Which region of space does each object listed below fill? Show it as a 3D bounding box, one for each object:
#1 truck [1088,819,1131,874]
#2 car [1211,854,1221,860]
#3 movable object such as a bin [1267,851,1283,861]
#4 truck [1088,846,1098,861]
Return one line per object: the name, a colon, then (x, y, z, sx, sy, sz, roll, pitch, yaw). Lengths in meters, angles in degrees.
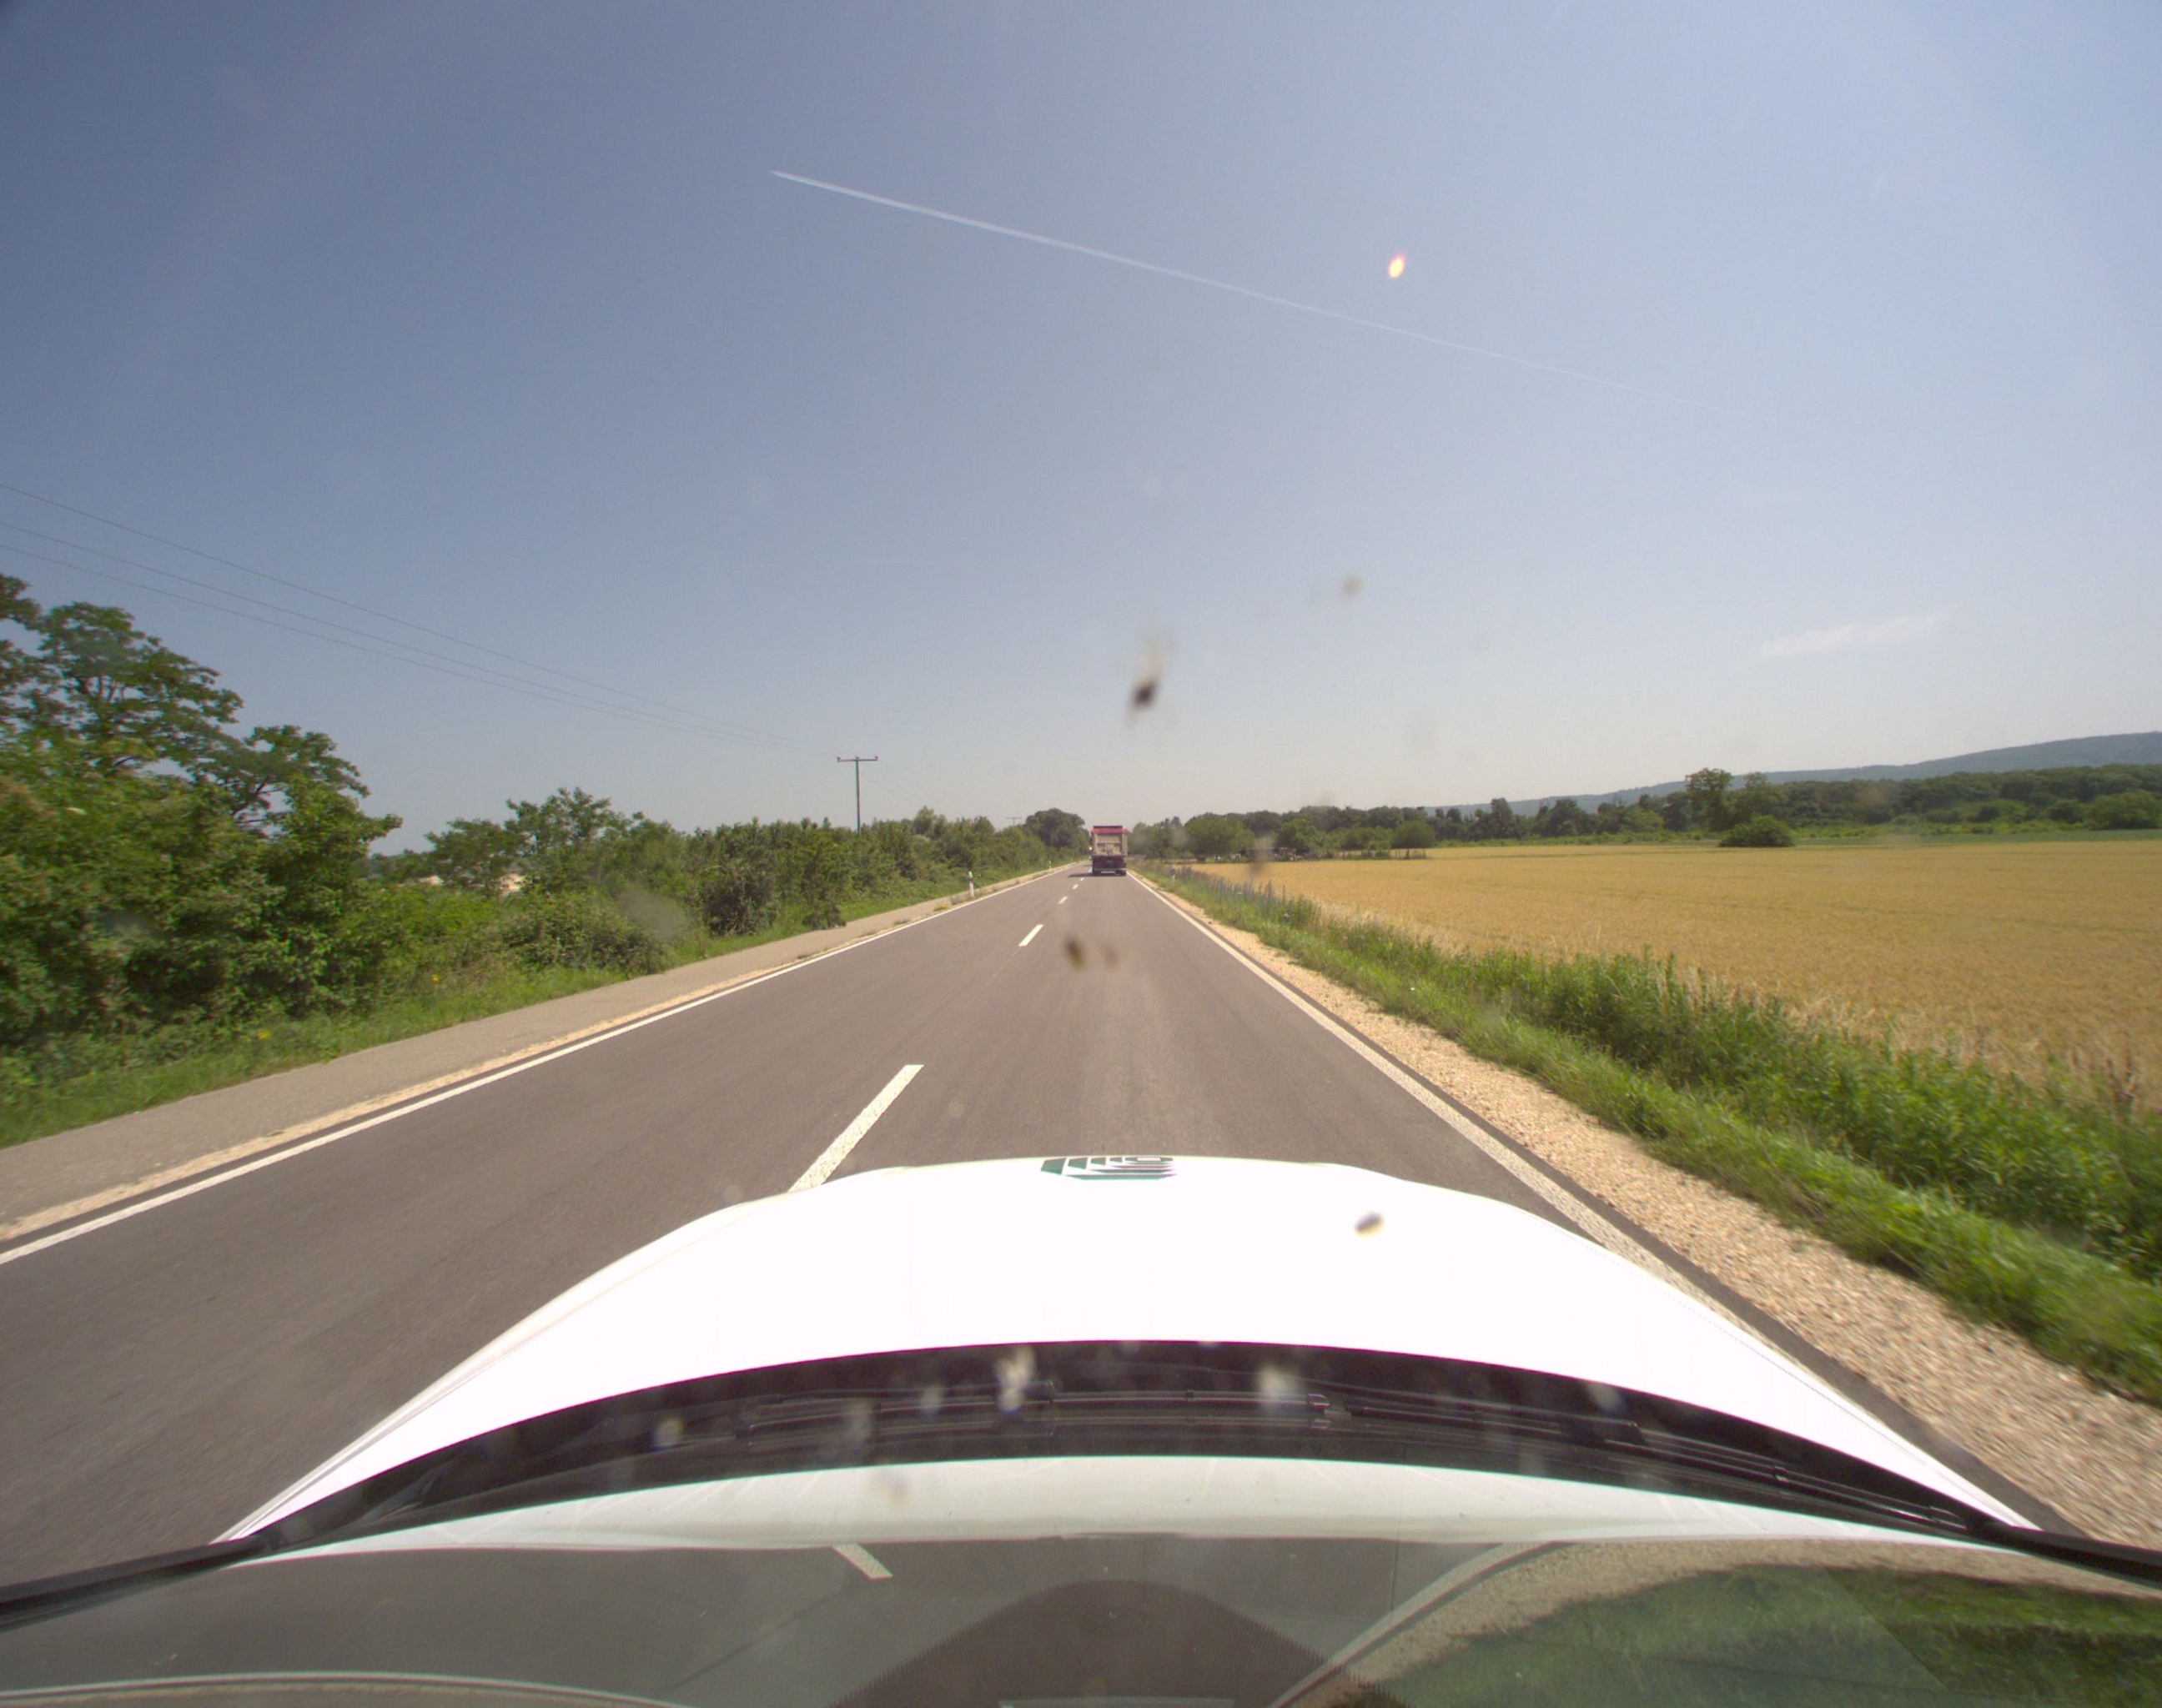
truck: (2.161, -0.465, 63.347, 2.998, 3.874, 12.212, 0, 0, 2)
car: (33.433, 0.755, 202.073, 1.591, 1.486, 3.420, -1, 0, -6)
movable object such as a bin: (30.731, 0.316, 129.200, 1.567, 1.496, 3.655, -1, 0, -3)
truck: (3.620, -0.233, 241.935, 2.707, 4.266, 7.392, -3, 0, 2)
